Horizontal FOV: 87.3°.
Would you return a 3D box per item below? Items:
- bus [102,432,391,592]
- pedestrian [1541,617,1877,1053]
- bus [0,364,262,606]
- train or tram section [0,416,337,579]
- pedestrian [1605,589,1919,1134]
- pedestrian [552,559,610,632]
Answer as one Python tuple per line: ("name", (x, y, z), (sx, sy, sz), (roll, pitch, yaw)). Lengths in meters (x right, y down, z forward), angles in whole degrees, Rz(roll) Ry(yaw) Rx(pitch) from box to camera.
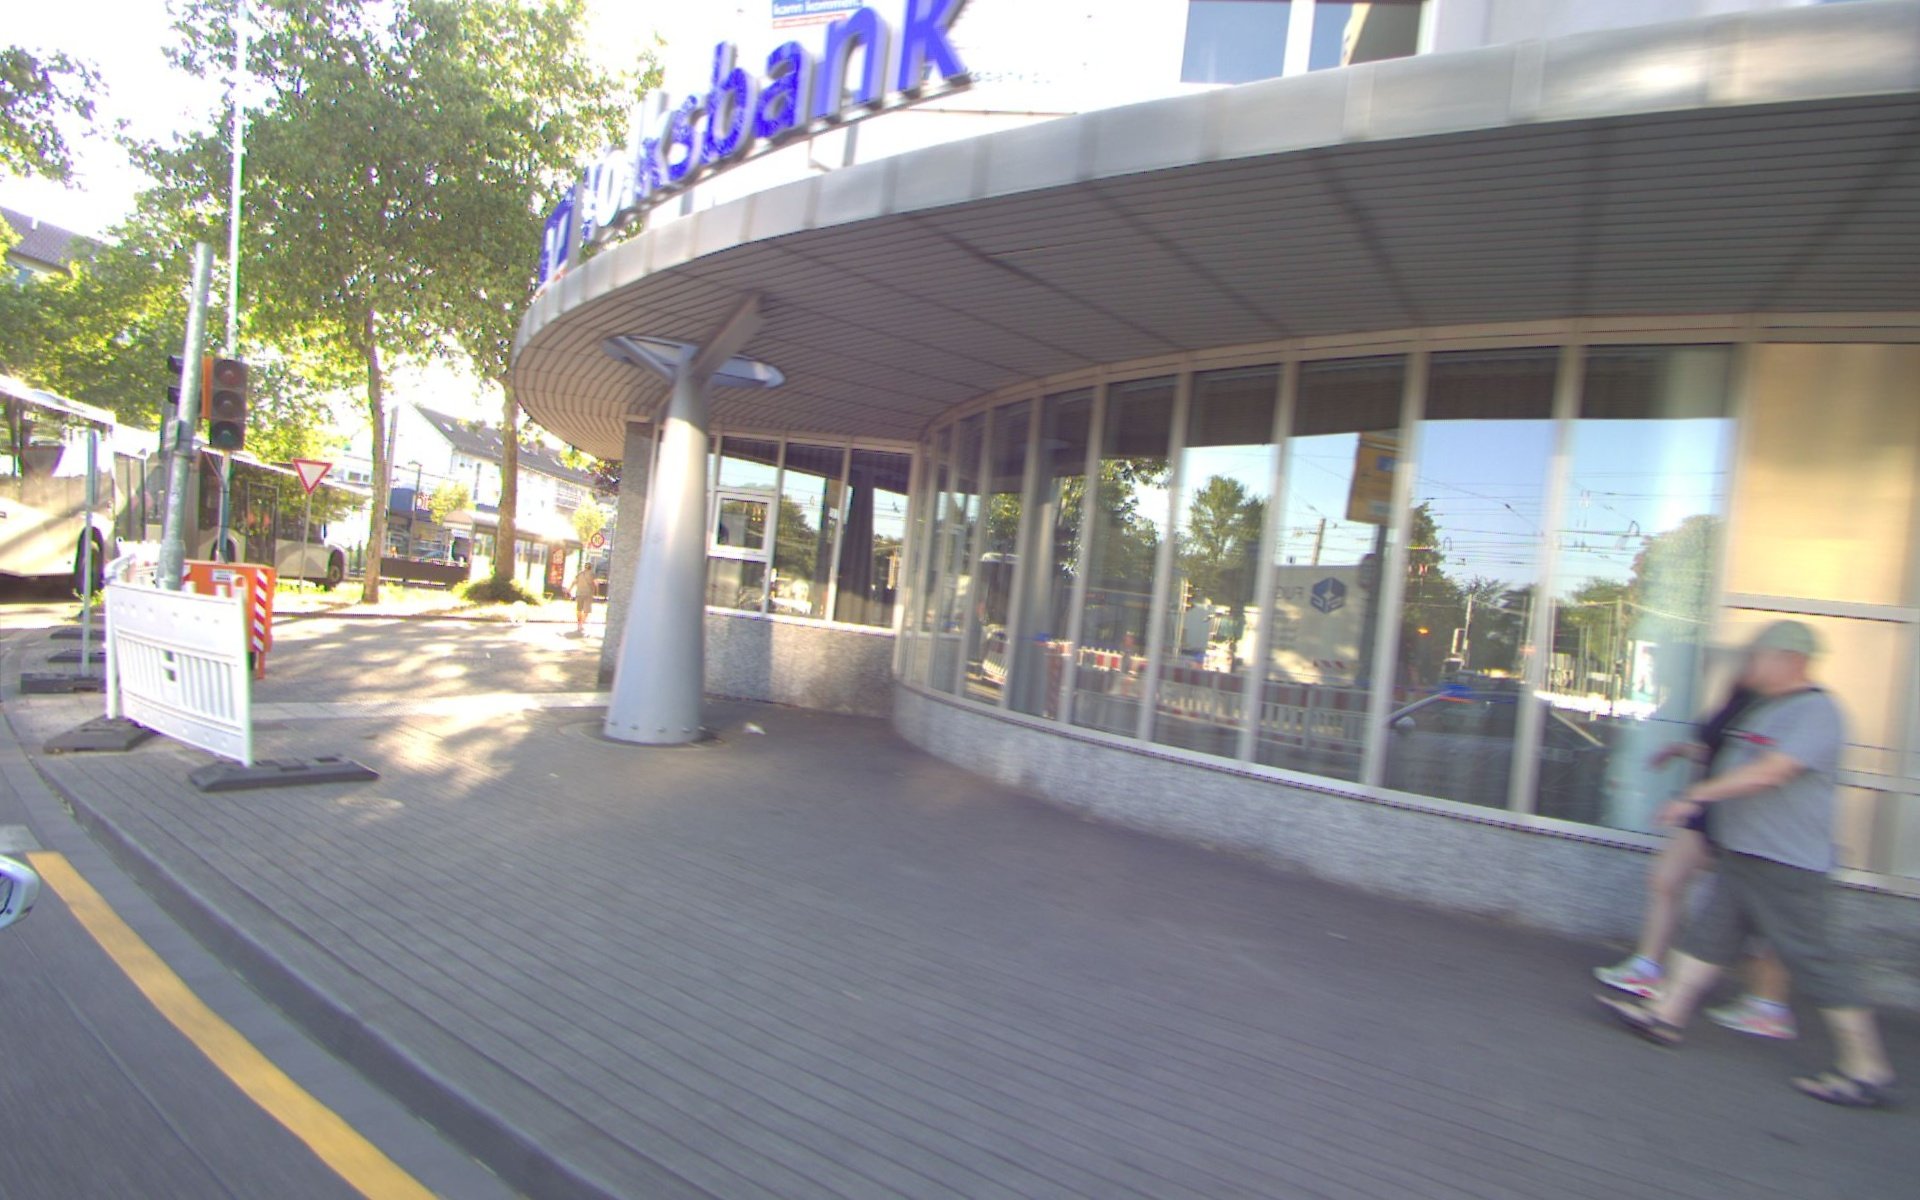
("bus", (-18.055, -1.974, 26.407), (2.674, 3.145, 8.957), (7, 0, -13))
("pedestrian", (3.099, 0.920, 4.264), (0.760, 1.594, 0.634), (8, 3, 14))
("bus", (-15.652, -1.812, 17.559), (2.704, 3.177, 10.655), (7, 0, -20))
("train or tram section", (-25.949, -3.015, 31.308), (2.598, 3.561, 13.346), (6, -1, 10))
("pedestrian", (2.935, 0.861, 3.635), (0.666, 1.731, 0.584), (7, 3, 14))
("pedestrian", (-8.336, -0.083, 22.145), (0.777, 1.492, 0.817), (7, 0, 6))
